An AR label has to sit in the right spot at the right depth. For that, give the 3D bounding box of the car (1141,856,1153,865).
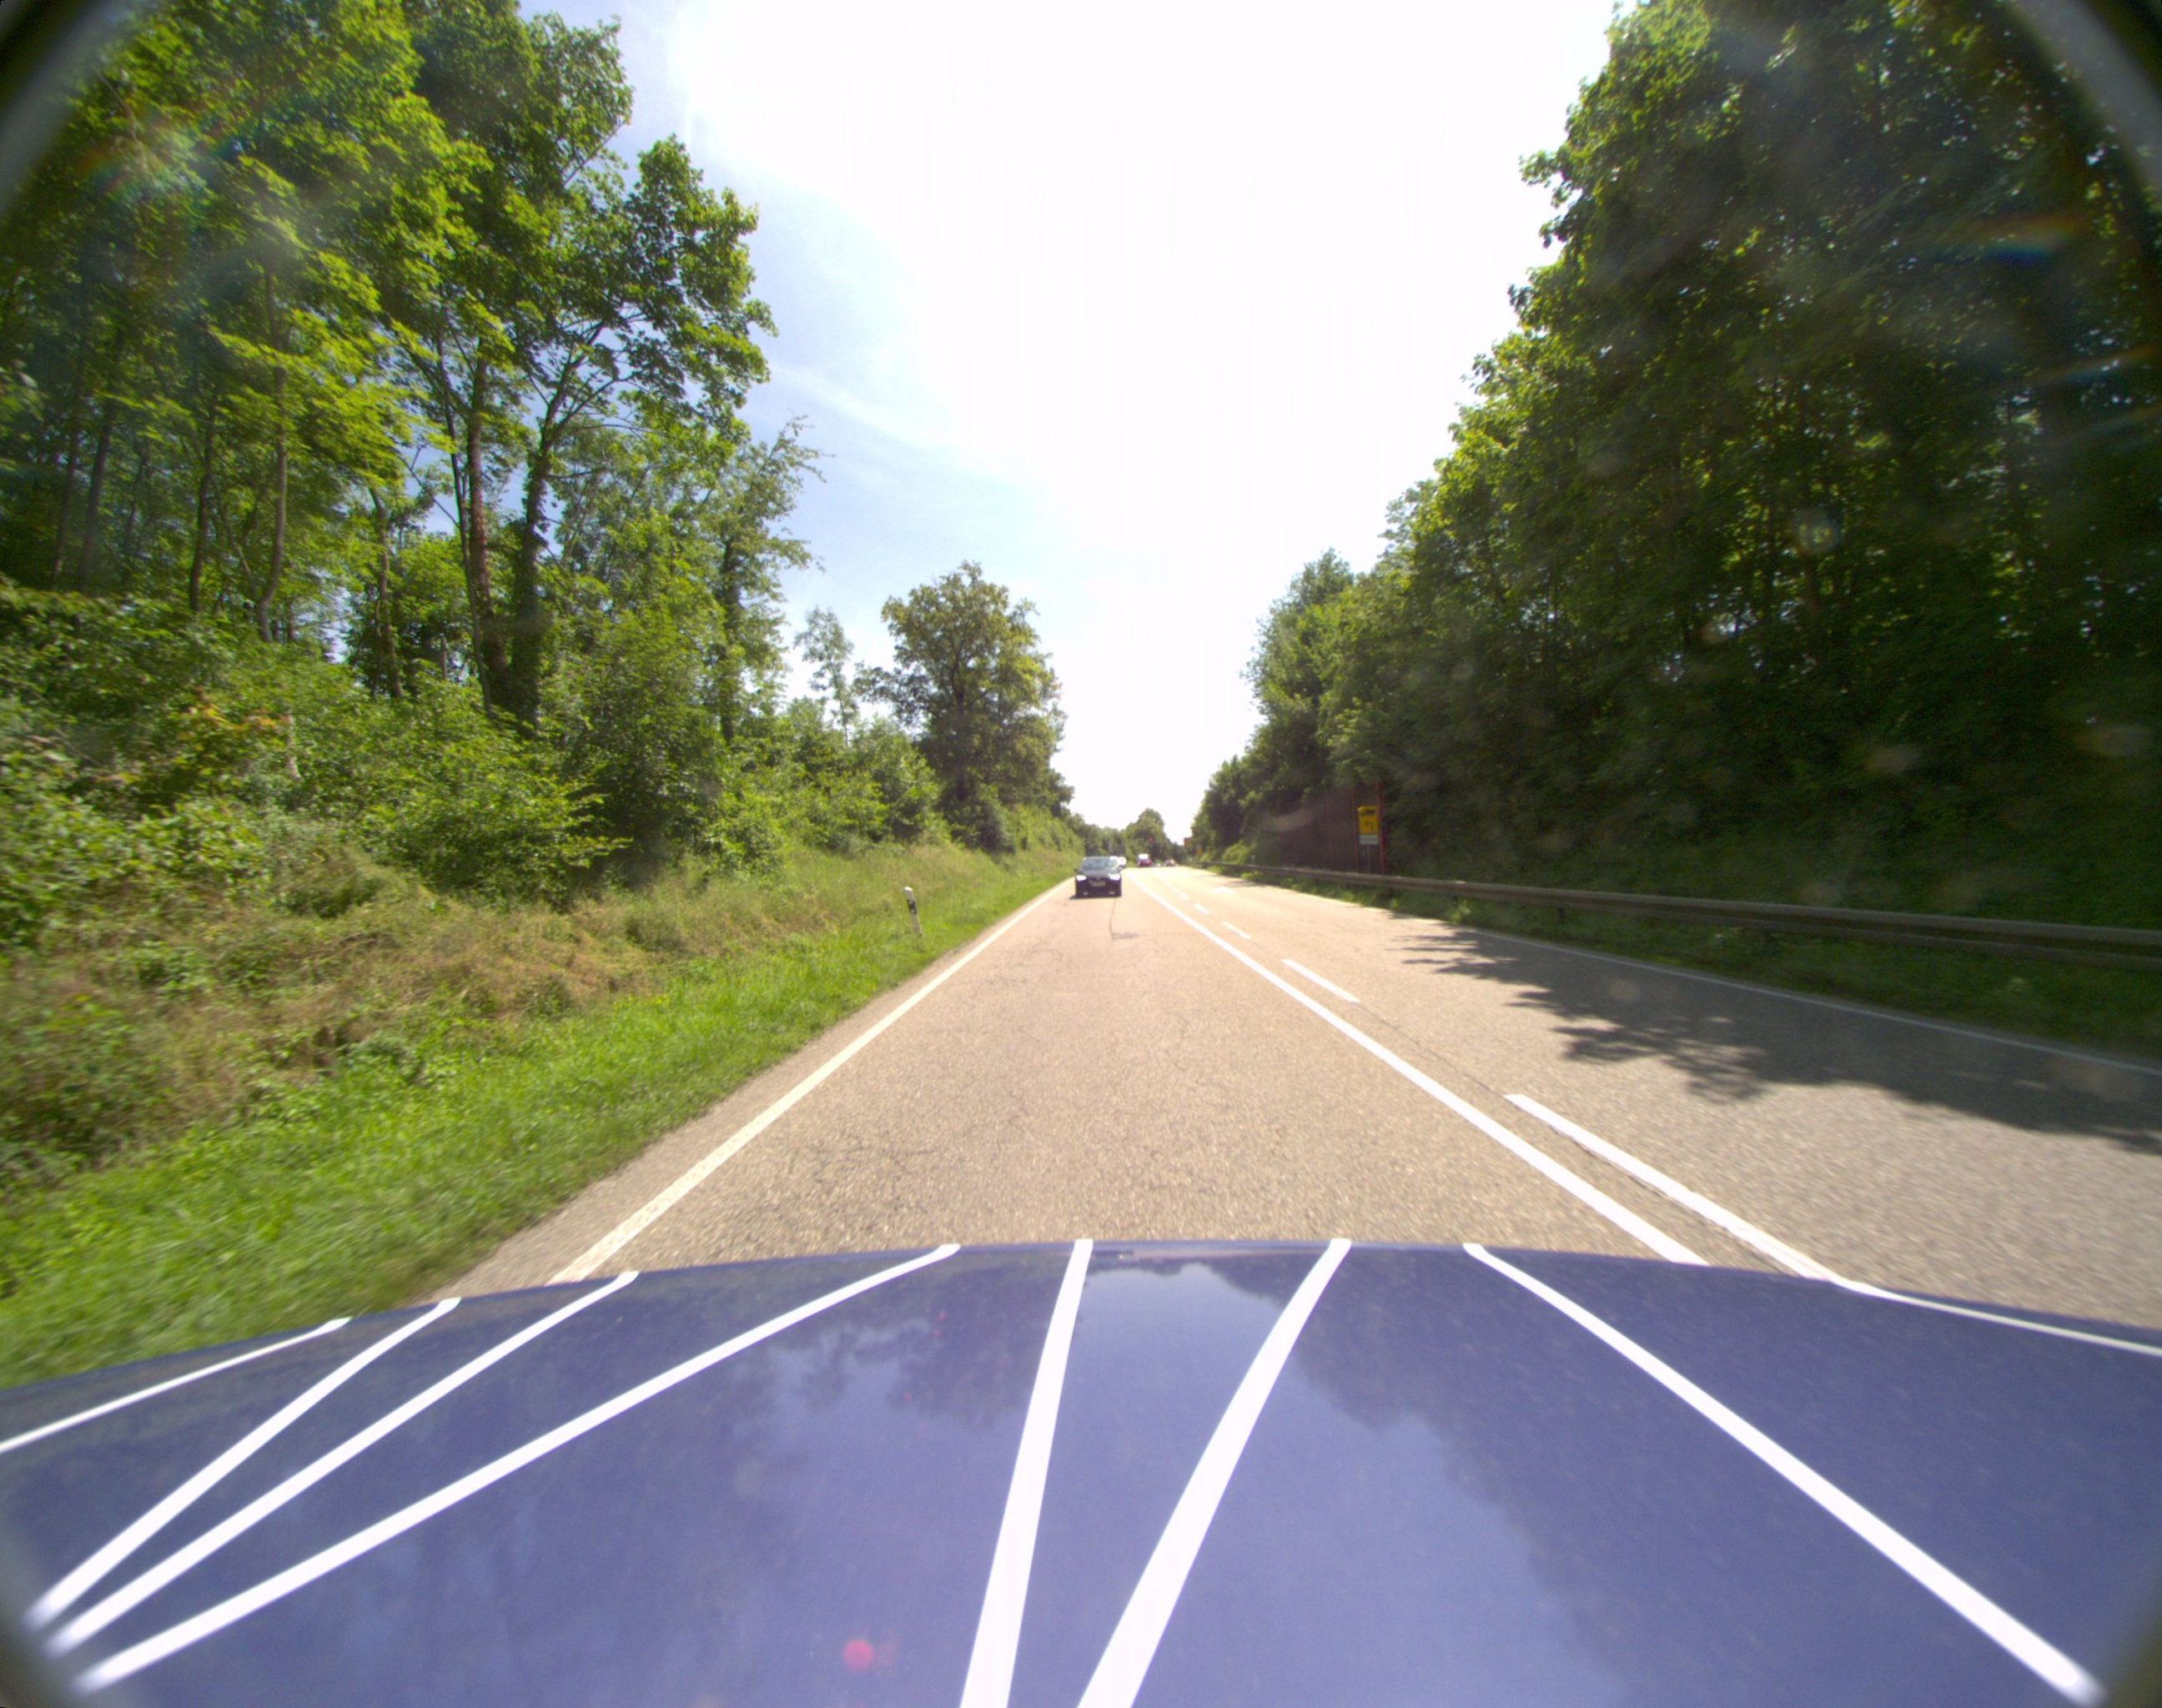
[{"bbox_3d":[11.234,1.054,129.138,1.808,1.444,4.389,-2,-1,7],"label":"car"}]

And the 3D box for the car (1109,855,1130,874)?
[{"bbox_3d":[3.748,1.072,74.438,1.770,1.673,4.001,-4,-1,0],"label":"car"}]

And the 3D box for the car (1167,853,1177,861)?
[{"bbox_3d":[17.400,0.622,145.543,1.810,1.427,3.873,-1,0,5],"label":"car"}]

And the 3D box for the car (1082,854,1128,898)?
[{"bbox_3d":[0.944,0.815,29.547,1.626,1.535,4.001,-3,-1,2],"label":"car"}]

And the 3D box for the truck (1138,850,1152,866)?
[{"bbox_3d":[16.600,0.898,195.968,2.838,3.794,8.455,-3,0,8],"label":"truck"}]

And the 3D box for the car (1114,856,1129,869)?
[{"bbox_3d":[6.691,1.335,124.492,1.997,2.001,4.003,-4,-1,7],"label":"car"}]

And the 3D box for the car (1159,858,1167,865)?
[{"bbox_3d":[26.218,2.437,242.409,1.997,2.001,4.004,-4,-1,10],"label":"car"}]

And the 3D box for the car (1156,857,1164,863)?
[{"bbox_3d":[23.463,1.740,226.246,1.997,1.790,4.004,-4,-1,10],"label":"car"}]
